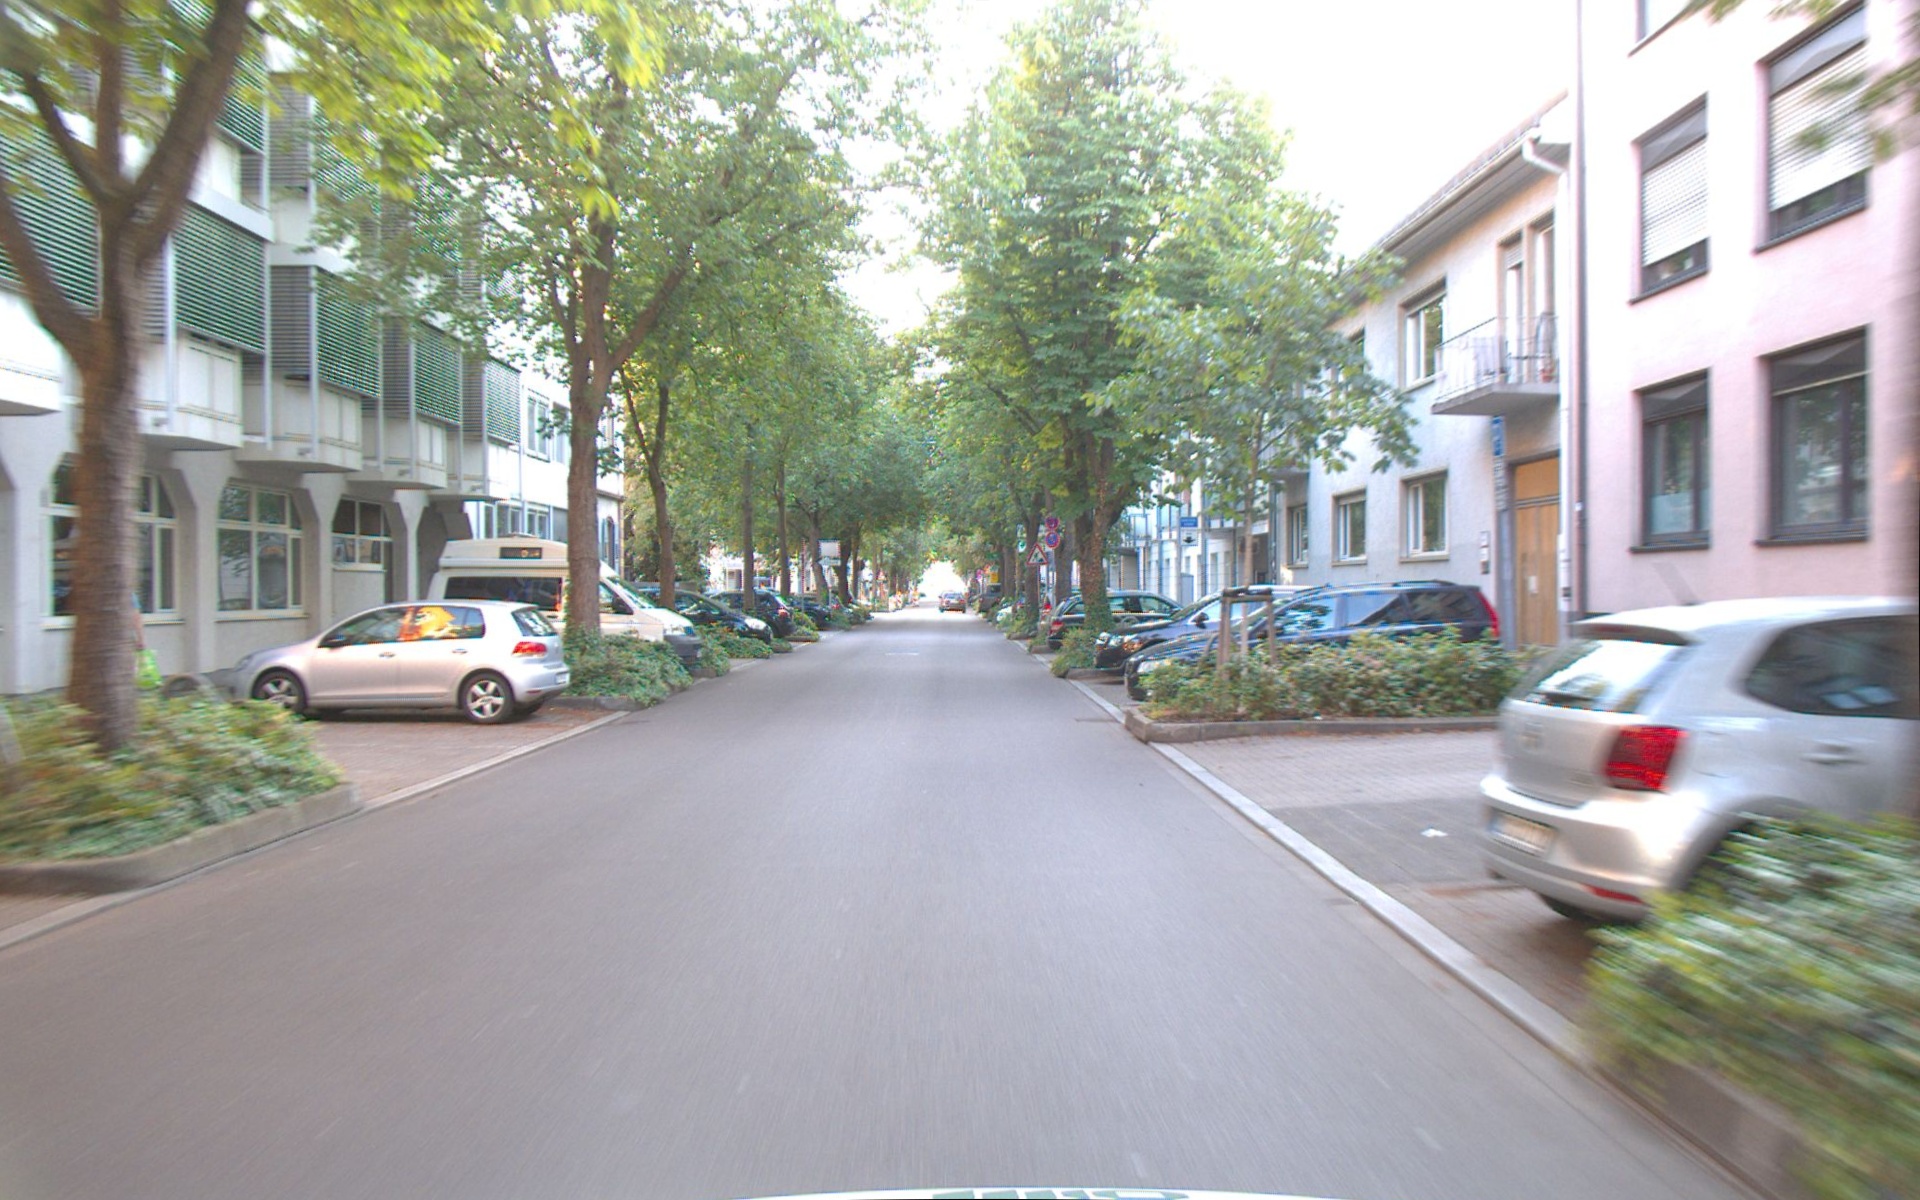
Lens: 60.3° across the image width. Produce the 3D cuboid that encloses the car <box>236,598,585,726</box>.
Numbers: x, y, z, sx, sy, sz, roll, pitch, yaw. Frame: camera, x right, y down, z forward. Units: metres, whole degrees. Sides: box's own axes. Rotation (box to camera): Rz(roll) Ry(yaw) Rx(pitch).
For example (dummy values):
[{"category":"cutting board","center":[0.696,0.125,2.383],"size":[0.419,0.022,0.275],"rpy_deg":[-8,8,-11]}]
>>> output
[{"category":"car","center":[-6.846,0.746,20.887],"size":[3.791,1.512,1.757],"rpy_deg":[1,0,1]}]

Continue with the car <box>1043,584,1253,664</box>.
[{"category":"car","center":[4.058,0.515,36.252],"size":[4.414,1.548,1.996],"rpy_deg":[-2,0,3]}]

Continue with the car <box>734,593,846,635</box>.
[{"category":"car","center":[-7.461,0.594,72.846],"size":[4.665,1.658,1.963],"rpy_deg":[-2,0,-1]}]

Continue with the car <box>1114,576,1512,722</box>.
[{"category":"car","center":[4.319,0.572,20.817],"size":[4.620,1.740,1.950],"rpy_deg":[0,1,1]}]

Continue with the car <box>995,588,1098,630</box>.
[{"category":"car","center":[3.608,0.380,69.377],"size":[4.181,1.593,1.963],"rpy_deg":[-2,0,-1]}]

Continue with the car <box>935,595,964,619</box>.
[{"category":"car","center":[-0.741,0.448,115.963],"size":[1.917,1.593,4.282],"rpy_deg":[-2,0,0]}]

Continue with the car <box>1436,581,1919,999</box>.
[{"category":"car","center":[4.242,0.665,7.125],"size":[3.800,1.465,1.846],"rpy_deg":[-2,1,-4]}]

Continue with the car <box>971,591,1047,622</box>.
[{"category":"car","center":[2.717,0.348,92.475],"size":[4.181,1.593,1.963],"rpy_deg":[-2,0,-1]}]

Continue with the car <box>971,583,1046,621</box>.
[{"category":"car","center":[2.772,0.098,95.177],"size":[4.181,1.996,1.963],"rpy_deg":[-2,0,-1]}]

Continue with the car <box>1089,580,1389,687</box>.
[{"category":"car","center":[4.531,0.531,27.347],"size":[4.587,1.548,1.963],"rpy_deg":[-2,0,-1]}]

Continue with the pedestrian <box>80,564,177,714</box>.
[{"category":"pedestrian","center":[-9.925,0.453,19.767],"size":[0.689,1.758,0.905],"rpy_deg":[0,0,-1]}]

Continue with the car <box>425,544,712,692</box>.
[{"category":"car","center":[-6.820,0.296,29.204],"size":[4.587,2.521,2.000],"rpy_deg":[0,0,-1]}]

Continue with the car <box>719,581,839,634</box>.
[{"category":"car","center":[-7.462,0.308,68.526],"size":[4.665,2.019,1.963],"rpy_deg":[-2,0,-1]}]

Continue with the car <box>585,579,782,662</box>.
[{"category":"car","center":[-6.902,0.504,41.662],"size":[4.587,1.886,1.963],"rpy_deg":[-2,0,-1]}]

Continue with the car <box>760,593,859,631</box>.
[{"category":"car","center":[-7.362,0.568,81.302],"size":[4.665,1.658,1.963],"rpy_deg":[-2,0,-1]}]

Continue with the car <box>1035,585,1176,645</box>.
[{"category":"car","center":[4.304,0.434,49.366],"size":[3.968,1.625,1.825],"rpy_deg":[-2,0,-1]}]

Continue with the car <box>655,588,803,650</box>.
[{"category":"car","center":[-6.850,0.565,49.387],"size":[4.117,1.664,1.963],"rpy_deg":[-2,0,-1]}]

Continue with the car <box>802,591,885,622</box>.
[{"category":"car","center":[-6.803,0.379,96.985],"size":[4.665,1.658,1.963],"rpy_deg":[-2,0,-1]}]

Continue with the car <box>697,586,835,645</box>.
[{"category":"car","center":[-6.656,0.509,57.082],"size":[4.502,1.839,1.963],"rpy_deg":[-2,0,-1]}]
